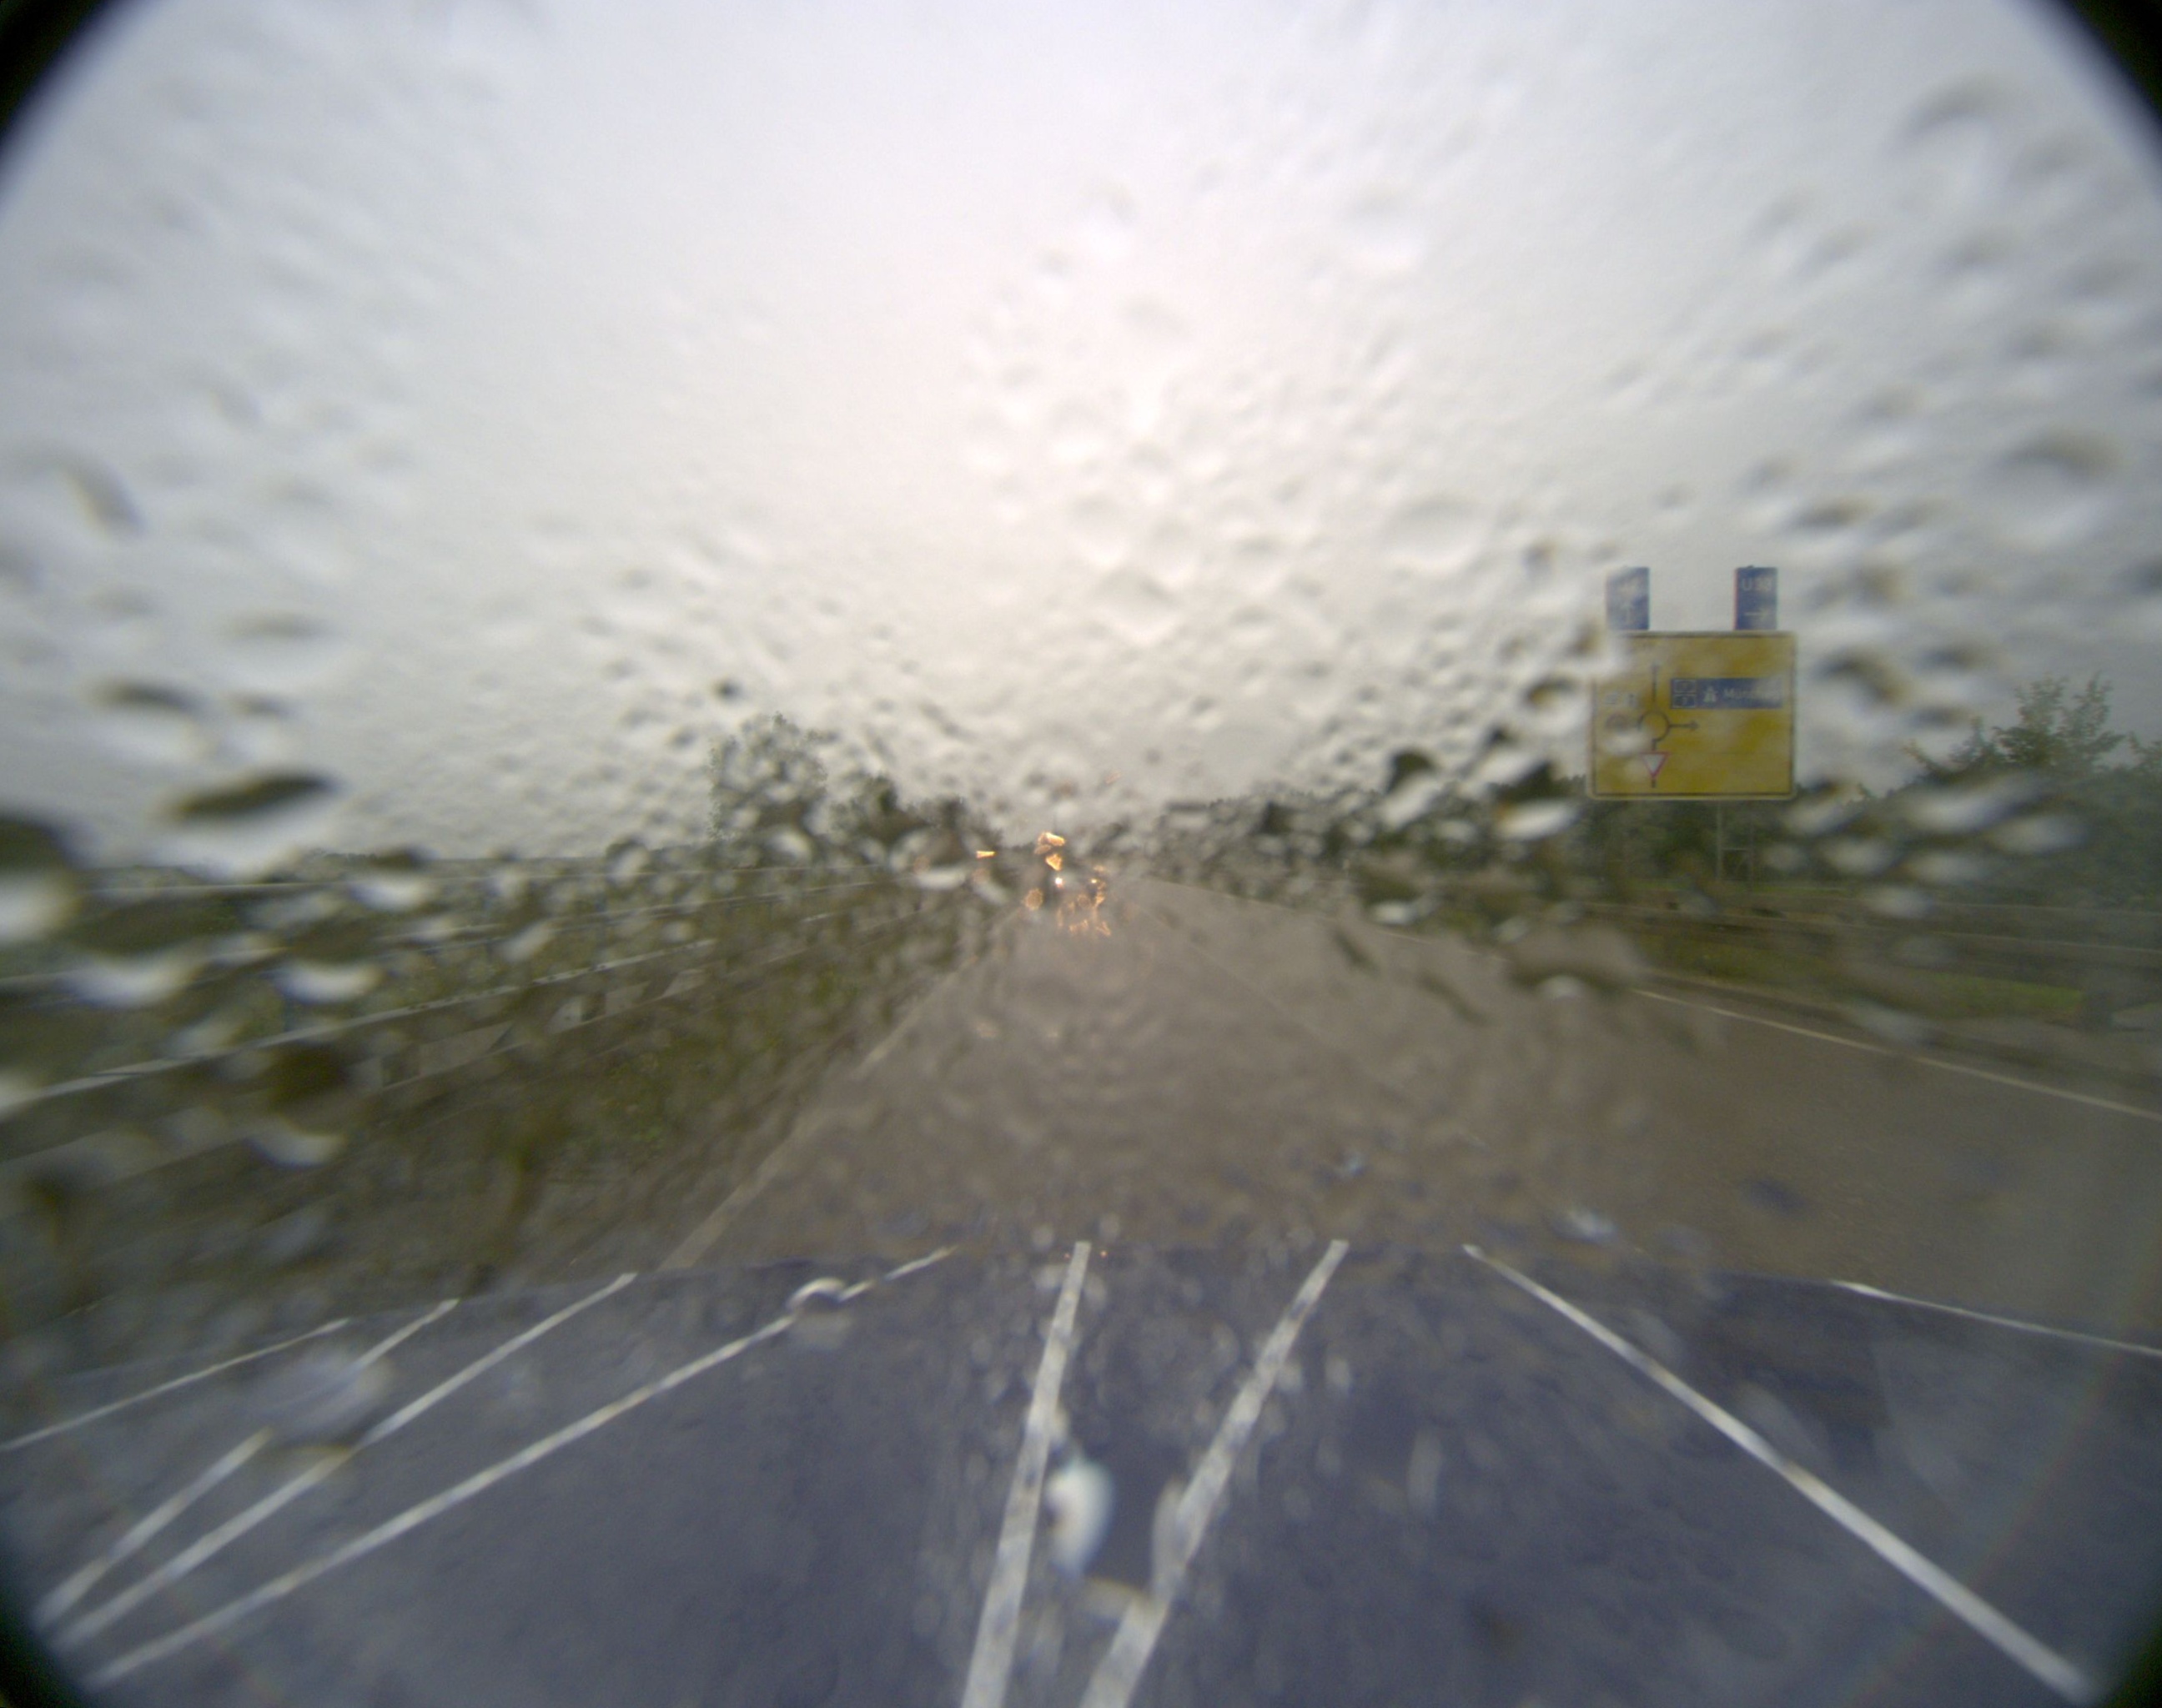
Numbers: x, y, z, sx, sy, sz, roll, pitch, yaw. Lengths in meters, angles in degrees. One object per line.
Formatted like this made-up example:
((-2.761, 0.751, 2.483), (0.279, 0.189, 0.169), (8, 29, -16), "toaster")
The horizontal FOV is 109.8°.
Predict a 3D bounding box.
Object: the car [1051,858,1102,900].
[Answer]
((-0.155, 0.939, 30.037), (1.819, 1.382, 4.068), (-3, 1, 0), "car")
